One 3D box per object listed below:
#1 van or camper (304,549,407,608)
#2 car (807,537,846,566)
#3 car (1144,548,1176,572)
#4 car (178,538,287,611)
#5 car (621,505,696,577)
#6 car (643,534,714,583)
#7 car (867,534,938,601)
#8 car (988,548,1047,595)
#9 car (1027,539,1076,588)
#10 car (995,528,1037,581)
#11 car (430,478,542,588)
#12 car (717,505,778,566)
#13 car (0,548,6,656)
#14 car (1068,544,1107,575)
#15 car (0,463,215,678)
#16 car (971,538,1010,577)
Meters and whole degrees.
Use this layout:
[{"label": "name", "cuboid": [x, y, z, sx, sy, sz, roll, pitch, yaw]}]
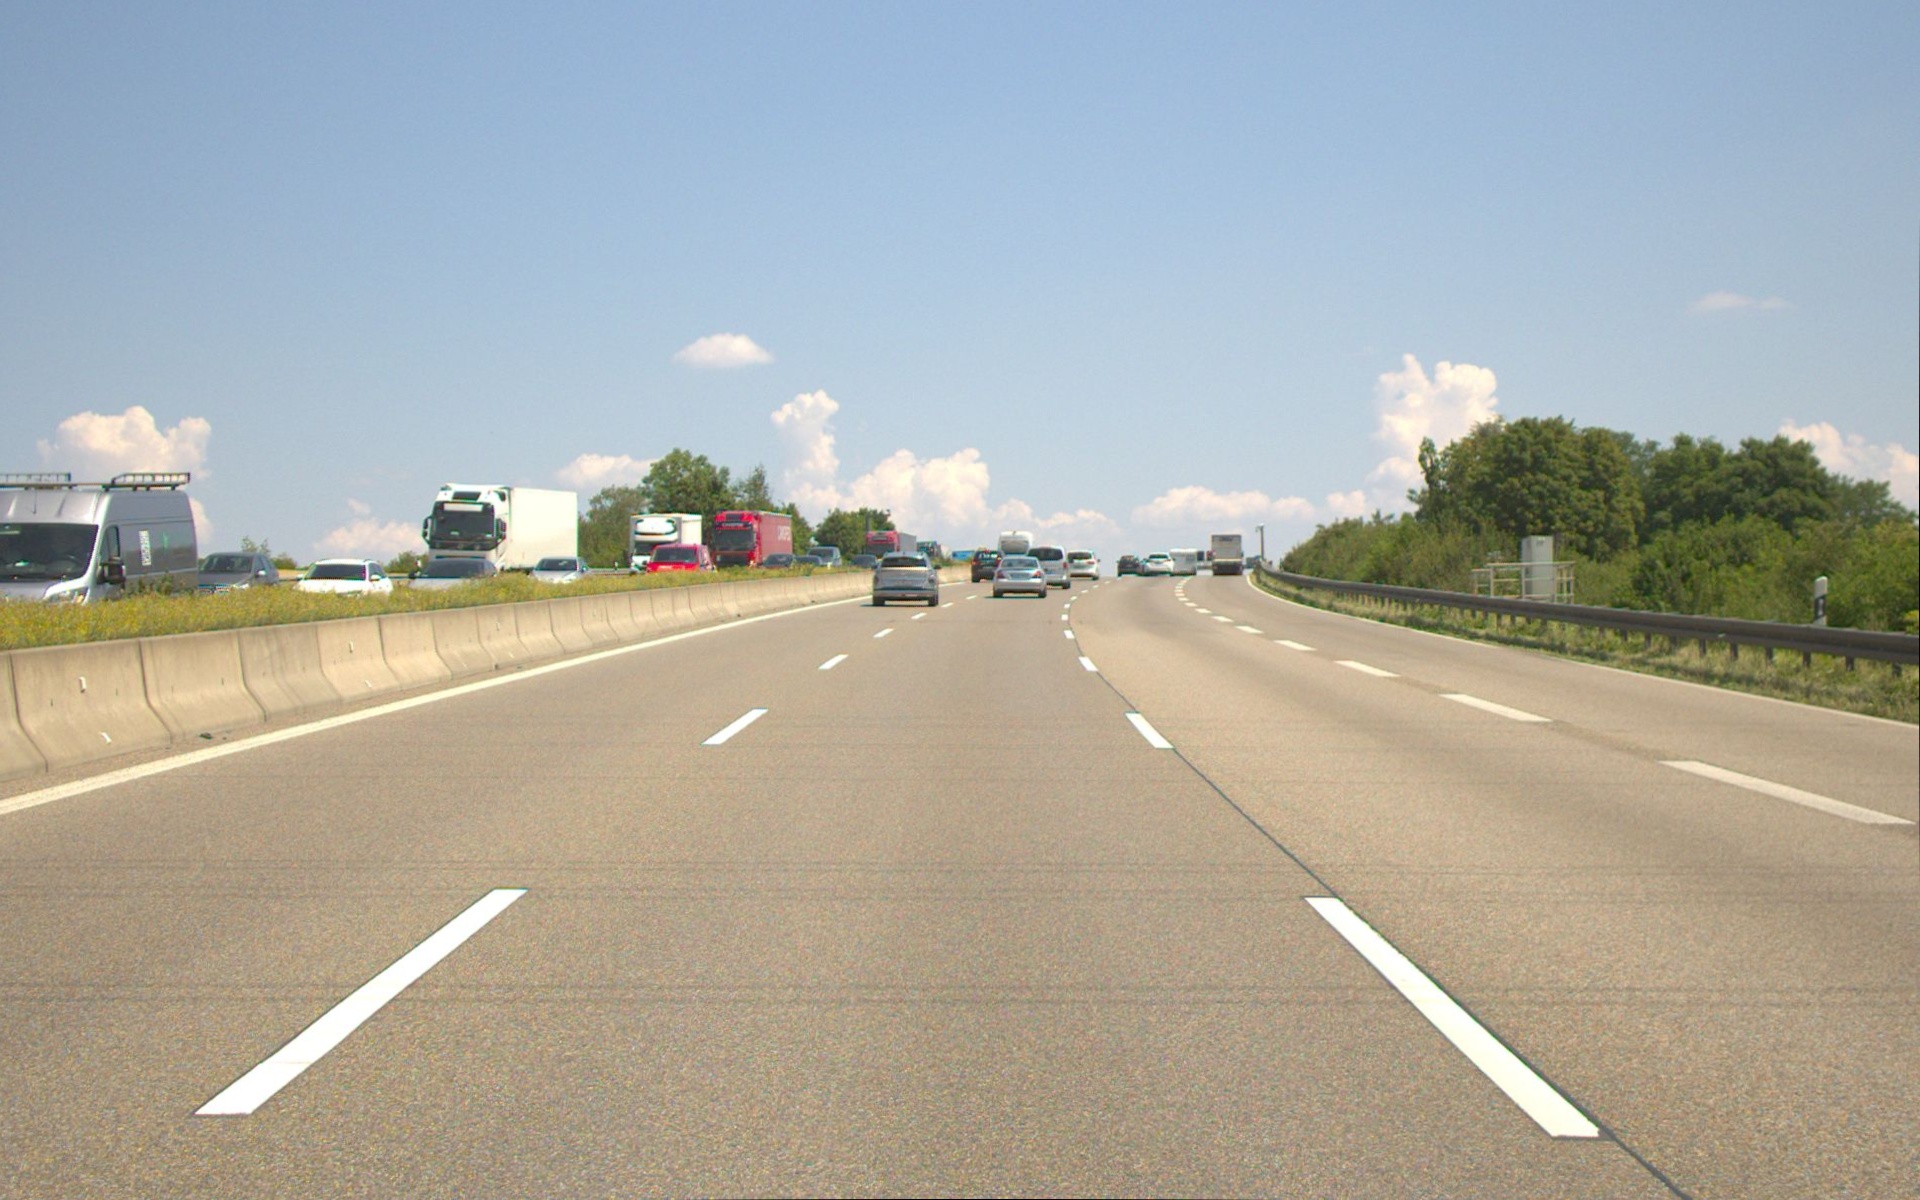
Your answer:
[{"label": "van or camper", "cuboid": [-14.182, -0.491, 80.814, 1.737, 1.340, 4.000, 1, 0, 0]}, {"label": "car", "cuboid": [-7.701, -2.797, 198.598, 1.993, 1.612, 4.000, 1, 1, 2]}, {"label": "car", "cuboid": [11.999, -2.402, 206.536, 1.902, 1.437, 4.000, 1, 1, 3]}, {"label": "car", "cuboid": [-18.944, -0.663, 89.657, 1.993, 1.842, 4.000, 1, 0, 0]}, {"label": "car", "cuboid": [-14.516, -2.862, 166.140, 2.542, 3.368, 8.179, 1, 1, 3]}, {"label": "car", "cuboid": [-9.721, -1.453, 118.939, 1.993, 1.612, 4.000, 1, 1, 2]}, {"label": "car", "cuboid": [-1.689, -0.922, 100.175, 1.993, 1.744, 4.000, 1, -2, -1]}, {"label": "car", "cuboid": [2.008, -0.974, 120.409, 1.993, 1.579, 4.000, 0, -1, 0]}, {"label": "car", "cuboid": [3.901, -1.545, 146.119, 1.994, 1.897, 3.999, 0, -2, 2]}, {"label": "car", "cuboid": [3.051, -2.454, 185.822, 2.180, 2.616, 4.671, 1, -2, 1]}, {"label": "car", "cuboid": [-17.081, -2.392, 124.467, 2.542, 3.819, 8.179, 1, 1, 3]}, {"label": "car", "cuboid": [-12.050, -3.677, 195.741, 2.542, 3.368, 8.179, 1, 1, 3]}, {"label": "car", "cuboid": [-15.596, 0.032, 51.101, 1.737, 1.664, 4.000, 1, 1, 0]}, {"label": "car", "cuboid": [6.875, -2.177, 184.910, 1.994, 1.546, 4.000, 2, 1, 3]}, {"label": "car", "cuboid": [-11.830, -0.407, 46.019, 2.405, 2.670, 6.037, 1, 0, 0]}, {"label": "car", "cuboid": [1.573, -2.161, 174.451, 1.847, 1.854, 4.205, 1, 2, 2]}]
